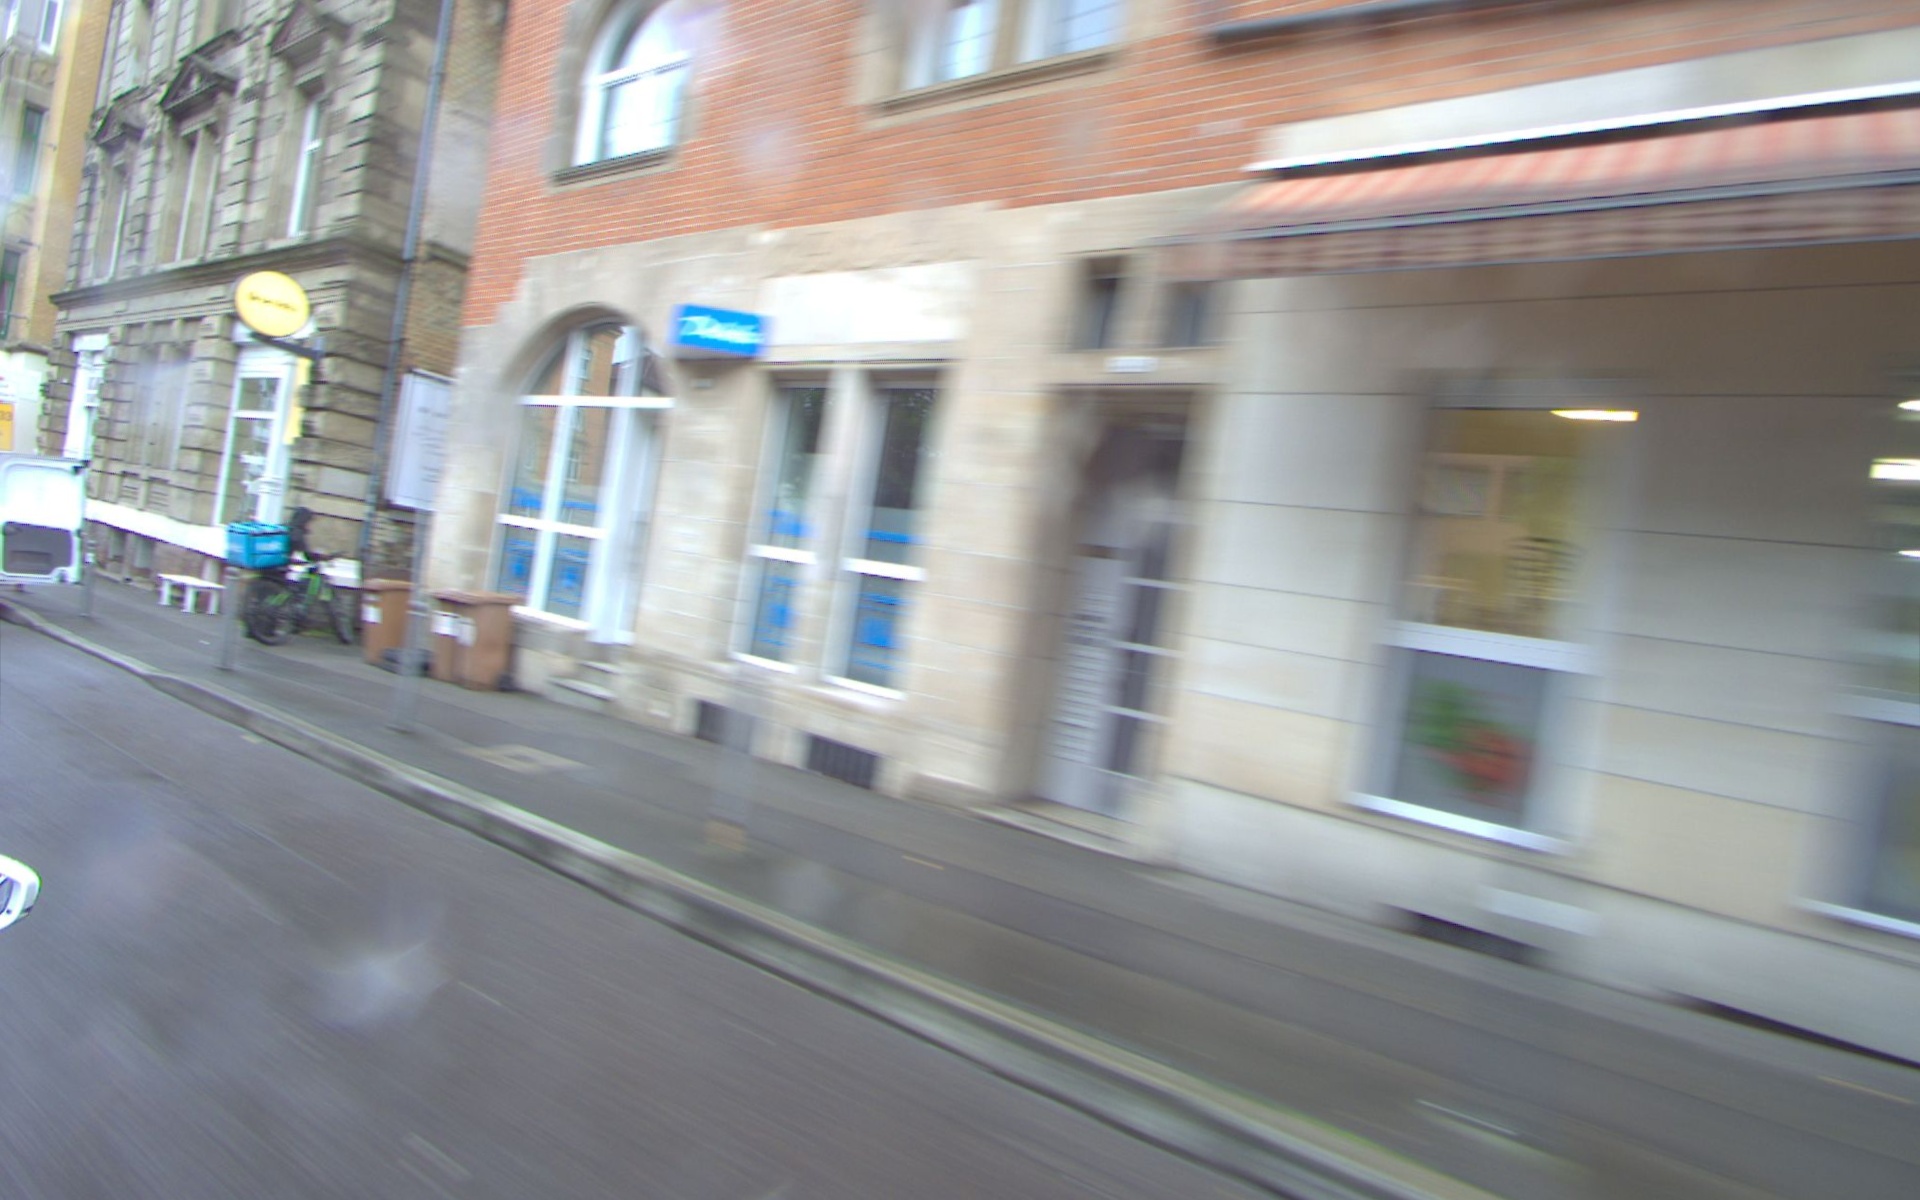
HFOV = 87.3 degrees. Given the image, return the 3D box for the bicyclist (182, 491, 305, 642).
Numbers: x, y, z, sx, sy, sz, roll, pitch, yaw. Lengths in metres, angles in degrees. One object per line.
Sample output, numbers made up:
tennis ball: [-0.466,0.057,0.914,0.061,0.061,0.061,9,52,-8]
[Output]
bicyclist: [-8.477,-0.370,11.930,0.619,1.677,0.850,7,0,14]

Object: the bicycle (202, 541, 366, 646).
bicycle: [-8.058,-0.039,12.087,0.456,1.129,1.690,7,0,13]

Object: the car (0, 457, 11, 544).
car: [-13.318,-0.948,12.114,4.615,1.958,1.921,7,-1,38]
